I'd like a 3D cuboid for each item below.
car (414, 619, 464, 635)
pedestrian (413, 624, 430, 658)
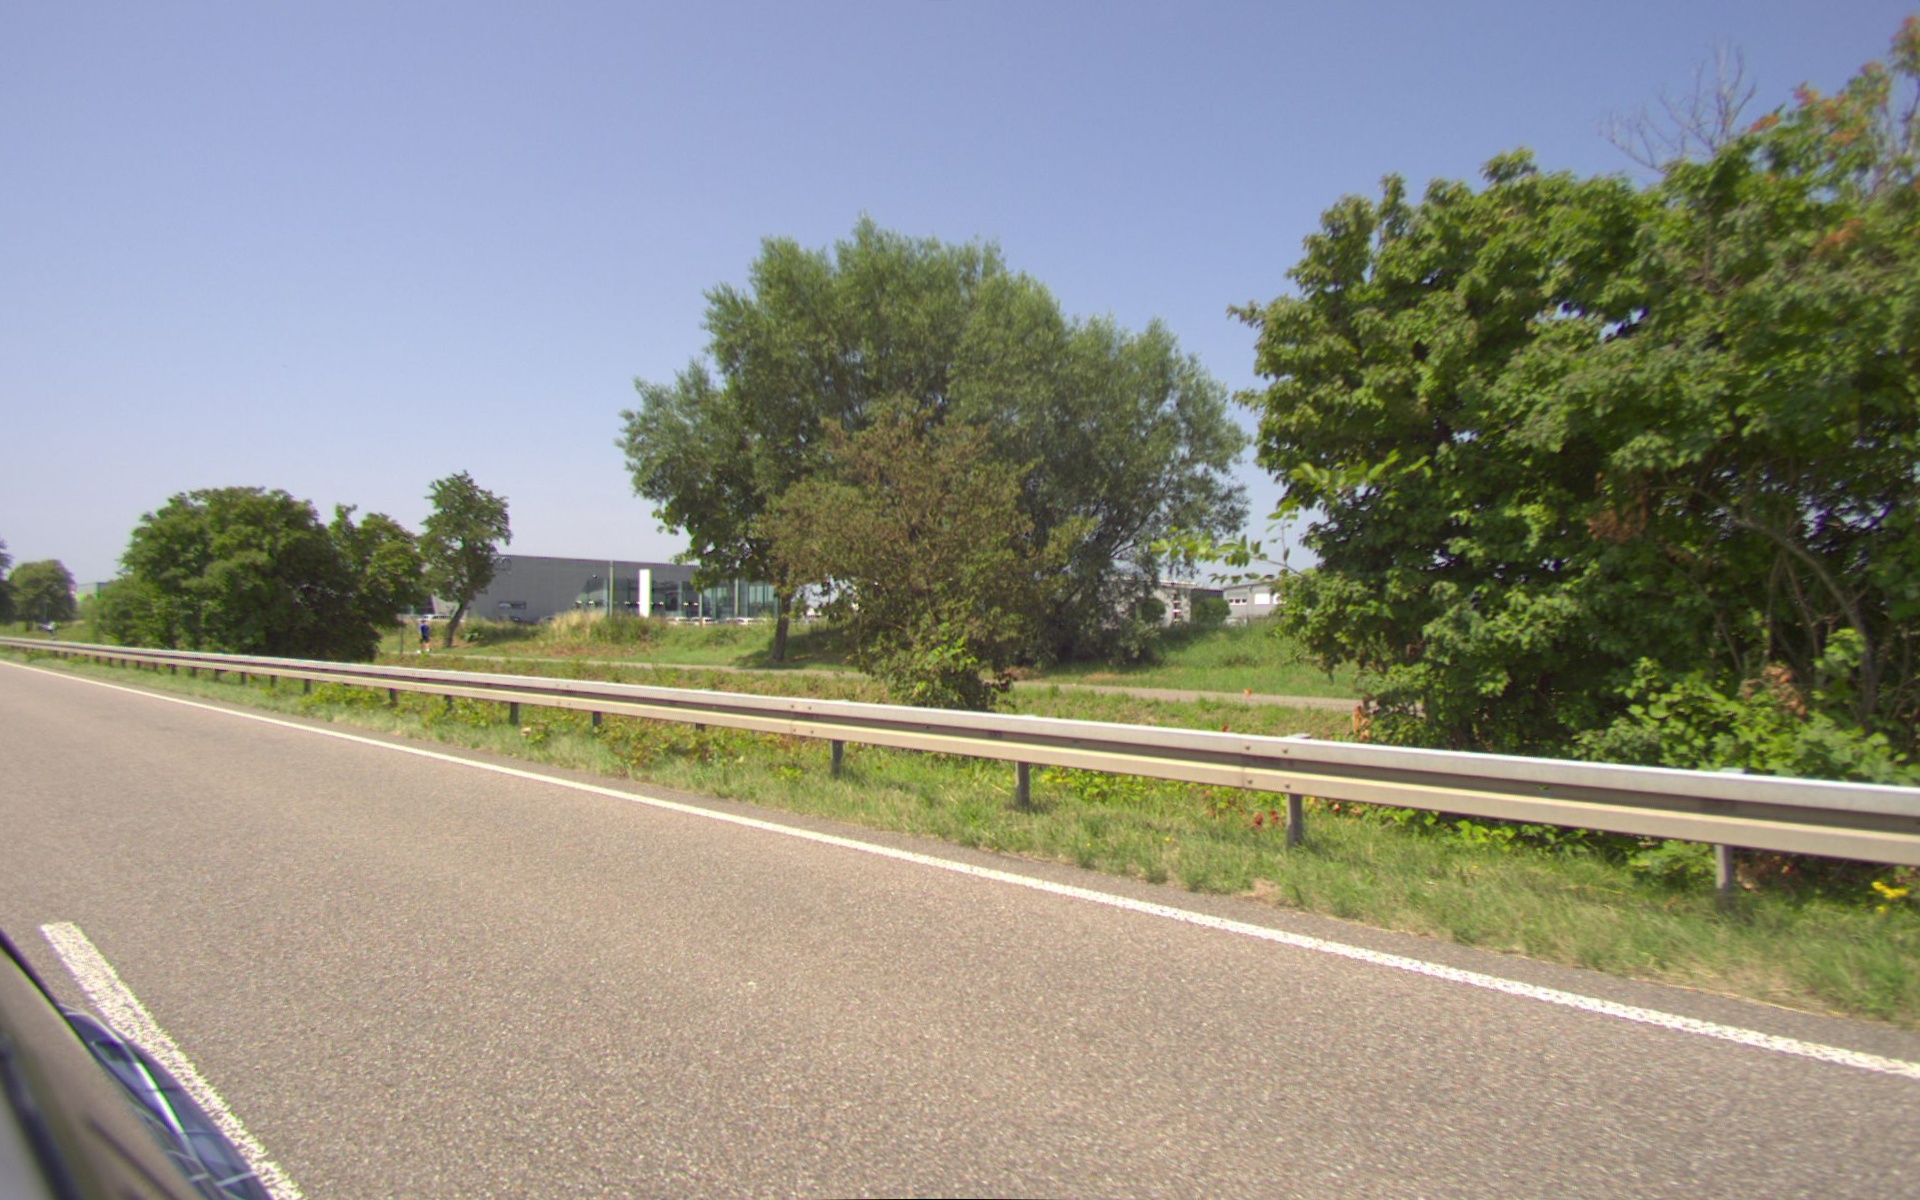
[{"bbox_3d":[-51.589,2.694,100.245,1.620,1.448,4.191,-1,-3,33],"label":"car"},{"bbox_3d":[-28.731,2.188,54.003,0.572,1.763,0.821,3,-4,-45],"label":"pedestrian"}]
